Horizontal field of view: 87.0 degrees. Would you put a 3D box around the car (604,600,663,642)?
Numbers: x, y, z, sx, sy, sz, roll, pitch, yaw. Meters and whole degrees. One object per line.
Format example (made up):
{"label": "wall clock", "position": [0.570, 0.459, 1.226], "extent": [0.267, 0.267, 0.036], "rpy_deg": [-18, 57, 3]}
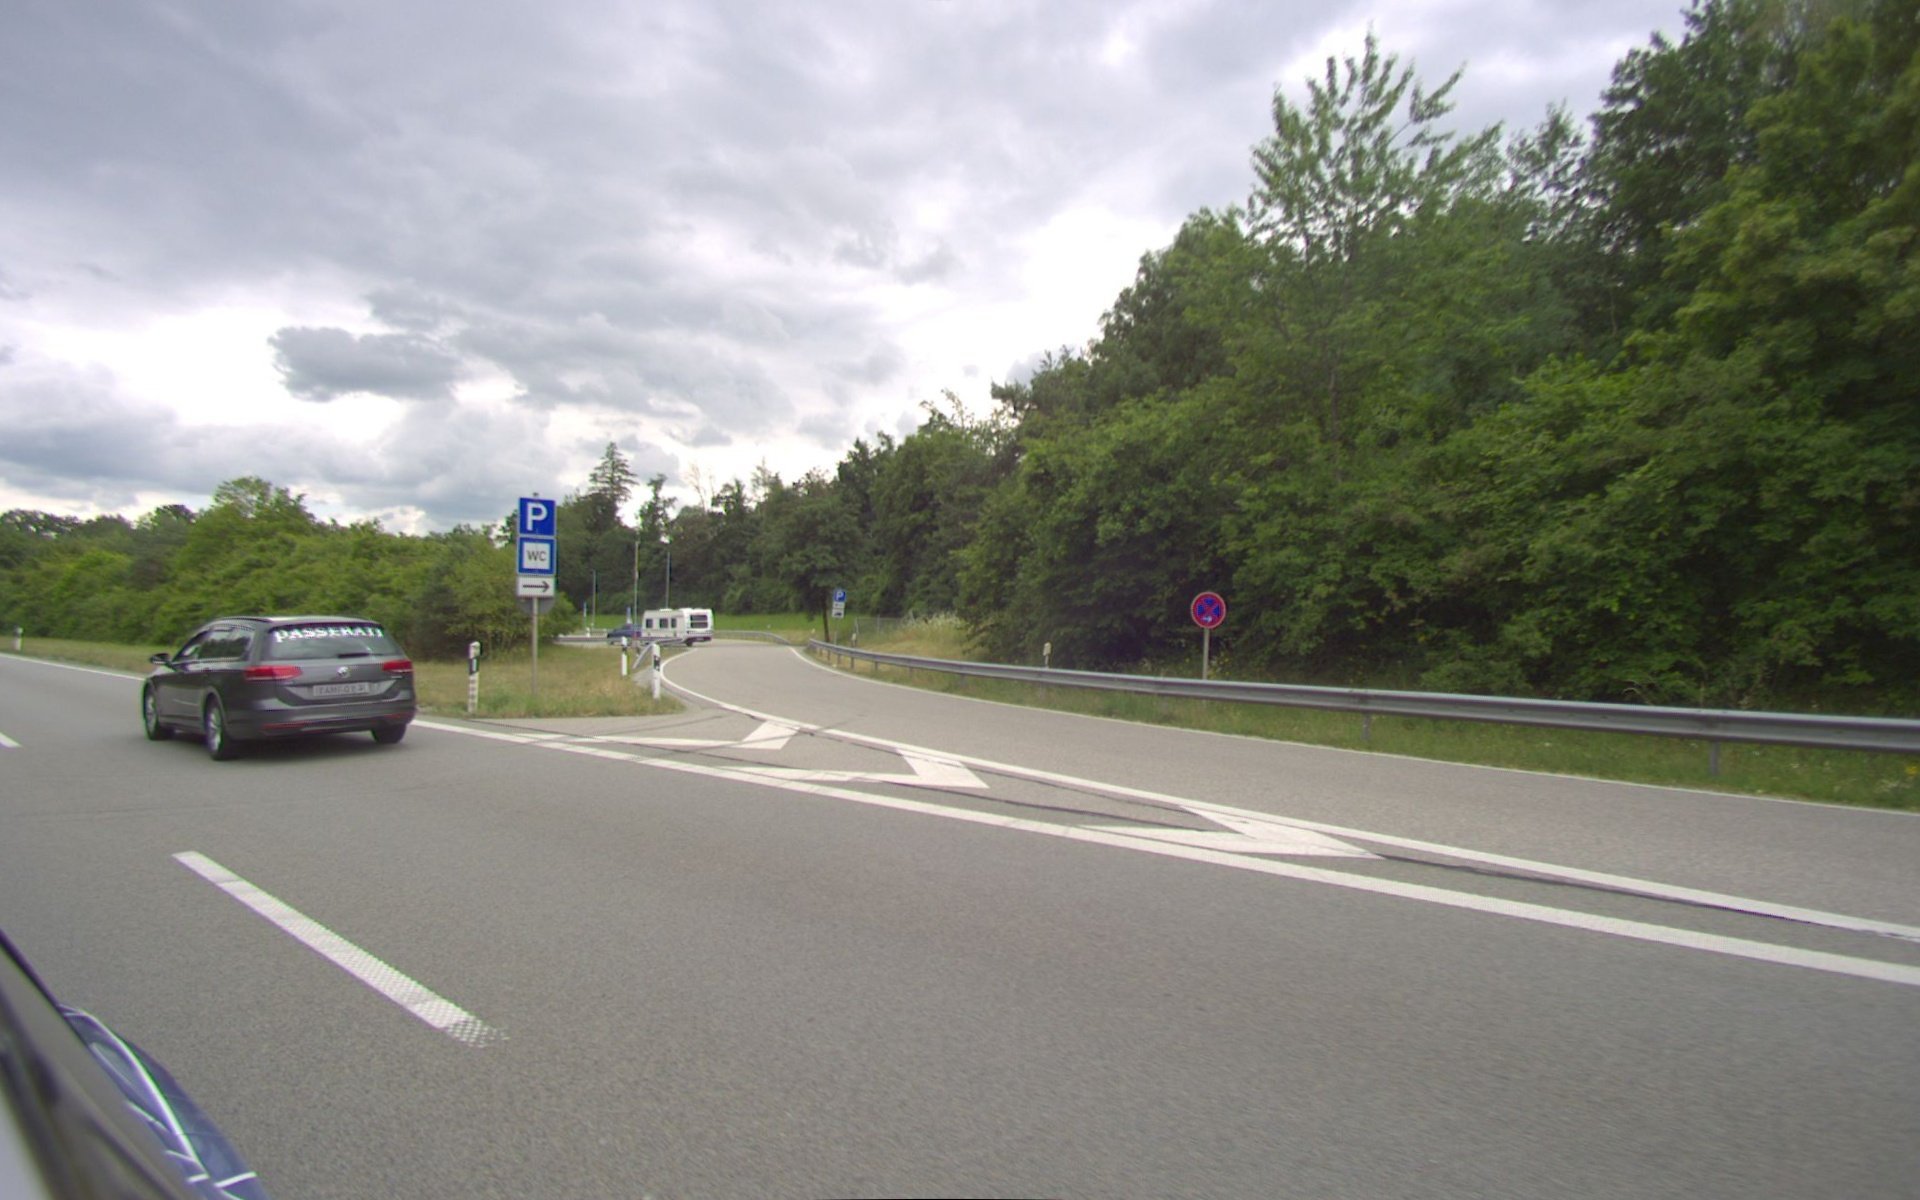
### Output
{"label": "car", "position": [-24.293, 1.546, 75.160], "extent": [2.371, 2.984, 4.603], "rpy_deg": [0, -1, -44]}

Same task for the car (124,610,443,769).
{"label": "car", "position": [-7.759, 0.867, 11.442], "extent": [4.443, 1.453, 1.790], "rpy_deg": [-1, -1, 39]}

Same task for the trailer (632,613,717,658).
{"label": "trailer", "position": [-20.052, 2.417, 70.890], "extent": [2.451, 2.987, 7.398], "rpy_deg": [0, -1, -44]}
